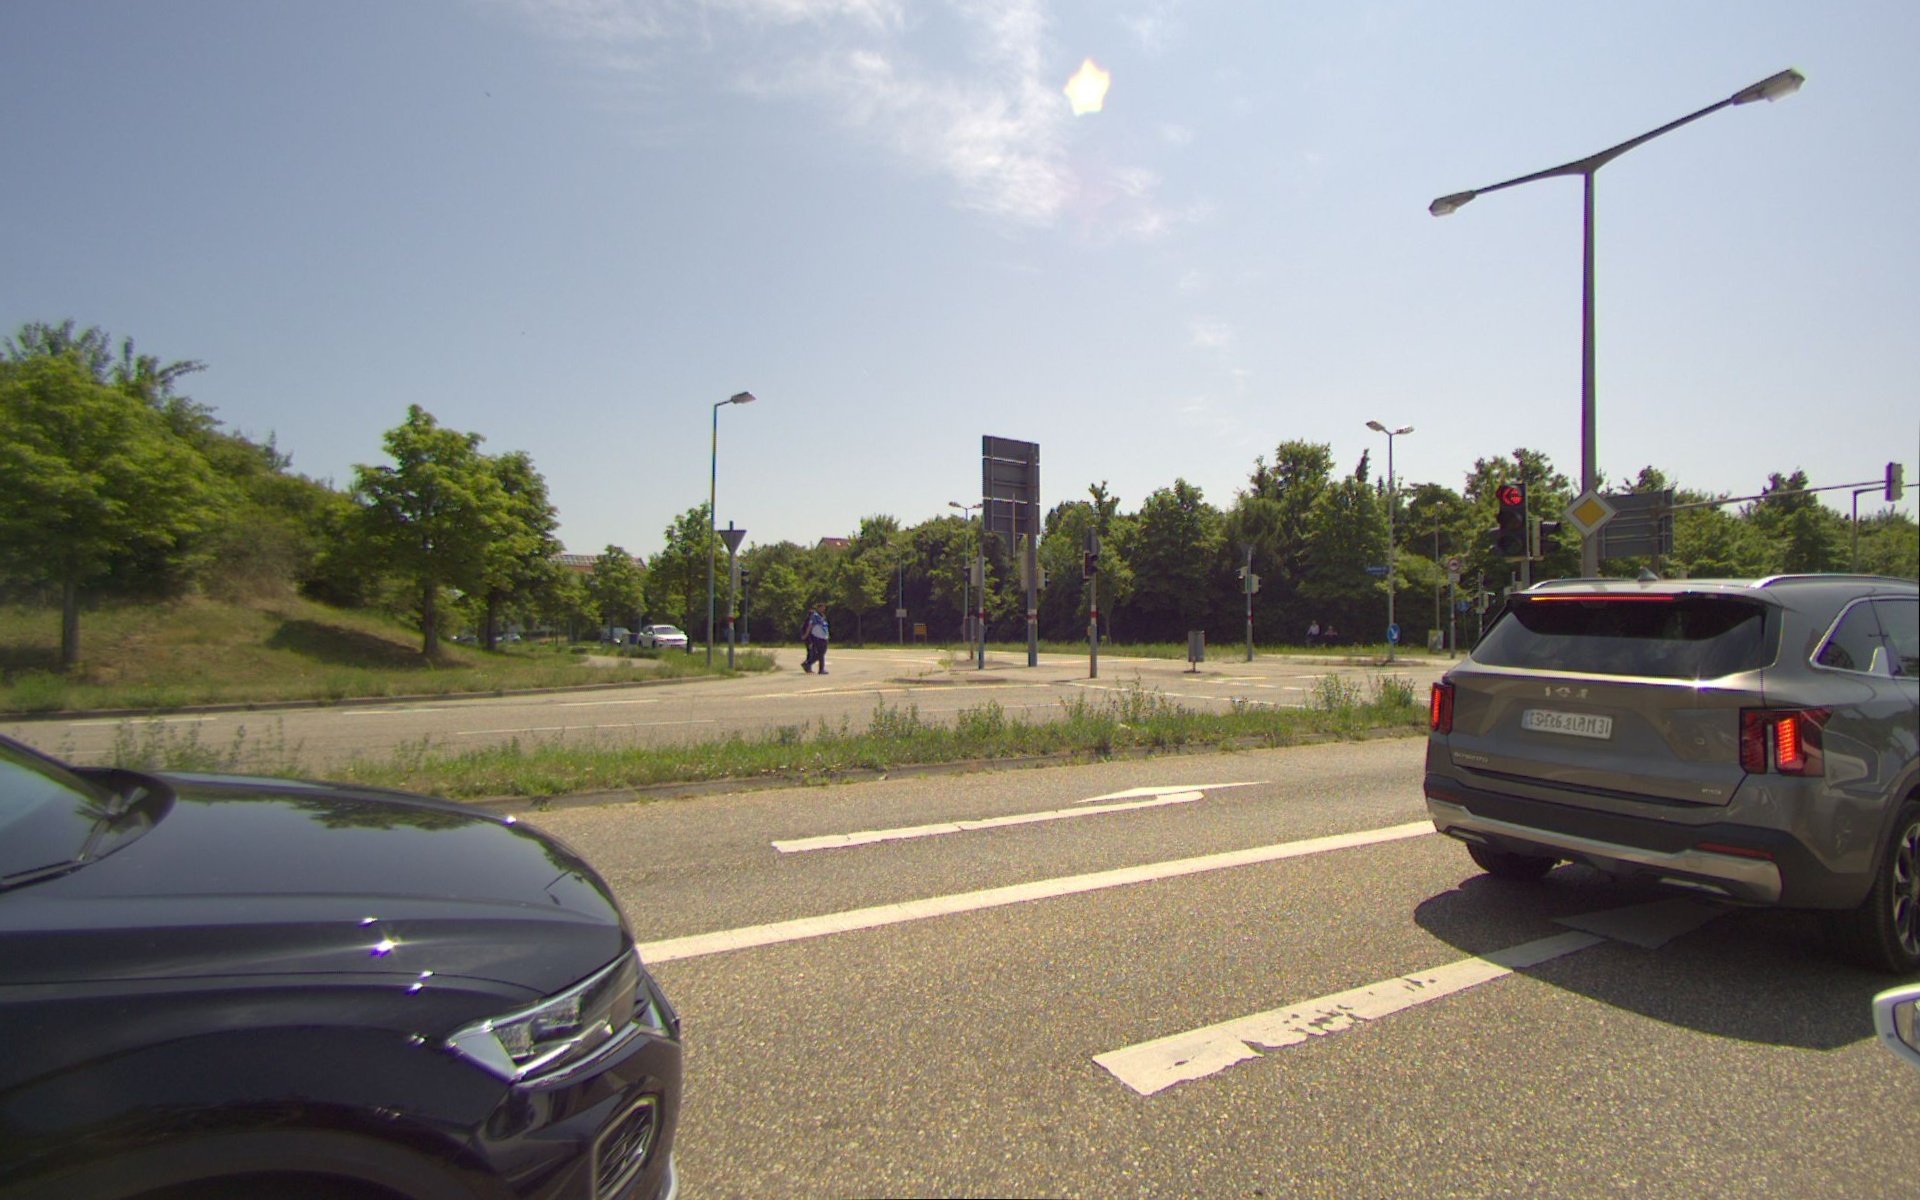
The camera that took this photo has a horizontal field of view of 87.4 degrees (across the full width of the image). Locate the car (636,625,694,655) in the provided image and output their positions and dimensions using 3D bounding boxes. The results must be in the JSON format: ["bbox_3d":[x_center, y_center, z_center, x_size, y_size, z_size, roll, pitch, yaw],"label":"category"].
[{"bbox_3d":[-16.429,2.205,55.868,1.860,1.522,4.269,-2,-1,-34],"label":"car"}]

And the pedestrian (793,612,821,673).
[{"bbox_3d":[-4.374,1.201,28.655,0.761,1.722,0.723,0,-1,-11],"label":"pedestrian"}]

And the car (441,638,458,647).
[{"bbox_3d":[-82.834,6.900,162.882,1.689,1.353,3.955,1,-2,-39],"label":"car"}]

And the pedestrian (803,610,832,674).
[{"bbox_3d":[-3.939,1.149,27.715,0.779,1.759,0.582,0,-1,-11],"label":"pedestrian"}]

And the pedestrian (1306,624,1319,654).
[{"bbox_3d":[19.736,2.174,56.248,0.606,1.624,0.798,-1,-1,24],"label":"pedestrian"}]

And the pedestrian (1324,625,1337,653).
[{"bbox_3d":[20.562,2.166,55.764,0.606,1.523,0.798,0,-1,24],"label":"pedestrian"}]

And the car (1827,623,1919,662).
[{"bbox_3d":[36.471,1.647,39.906,4.119,1.475,1.814,1,-1,-30],"label":"car"}]

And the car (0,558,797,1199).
[{"bbox_3d":[-2.406,0.681,1.442,3.924,1.532,1.726,2,0,-30],"label":"car"}]

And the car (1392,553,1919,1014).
[{"bbox_3d":[4.672,0.731,5.631,4.590,1.684,1.795,1,-1,-30],"label":"car"}]

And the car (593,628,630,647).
[{"bbox_3d":[-25.877,2.773,74.548,1.685,1.353,3.964,1,-2,-33],"label":"car"}]
